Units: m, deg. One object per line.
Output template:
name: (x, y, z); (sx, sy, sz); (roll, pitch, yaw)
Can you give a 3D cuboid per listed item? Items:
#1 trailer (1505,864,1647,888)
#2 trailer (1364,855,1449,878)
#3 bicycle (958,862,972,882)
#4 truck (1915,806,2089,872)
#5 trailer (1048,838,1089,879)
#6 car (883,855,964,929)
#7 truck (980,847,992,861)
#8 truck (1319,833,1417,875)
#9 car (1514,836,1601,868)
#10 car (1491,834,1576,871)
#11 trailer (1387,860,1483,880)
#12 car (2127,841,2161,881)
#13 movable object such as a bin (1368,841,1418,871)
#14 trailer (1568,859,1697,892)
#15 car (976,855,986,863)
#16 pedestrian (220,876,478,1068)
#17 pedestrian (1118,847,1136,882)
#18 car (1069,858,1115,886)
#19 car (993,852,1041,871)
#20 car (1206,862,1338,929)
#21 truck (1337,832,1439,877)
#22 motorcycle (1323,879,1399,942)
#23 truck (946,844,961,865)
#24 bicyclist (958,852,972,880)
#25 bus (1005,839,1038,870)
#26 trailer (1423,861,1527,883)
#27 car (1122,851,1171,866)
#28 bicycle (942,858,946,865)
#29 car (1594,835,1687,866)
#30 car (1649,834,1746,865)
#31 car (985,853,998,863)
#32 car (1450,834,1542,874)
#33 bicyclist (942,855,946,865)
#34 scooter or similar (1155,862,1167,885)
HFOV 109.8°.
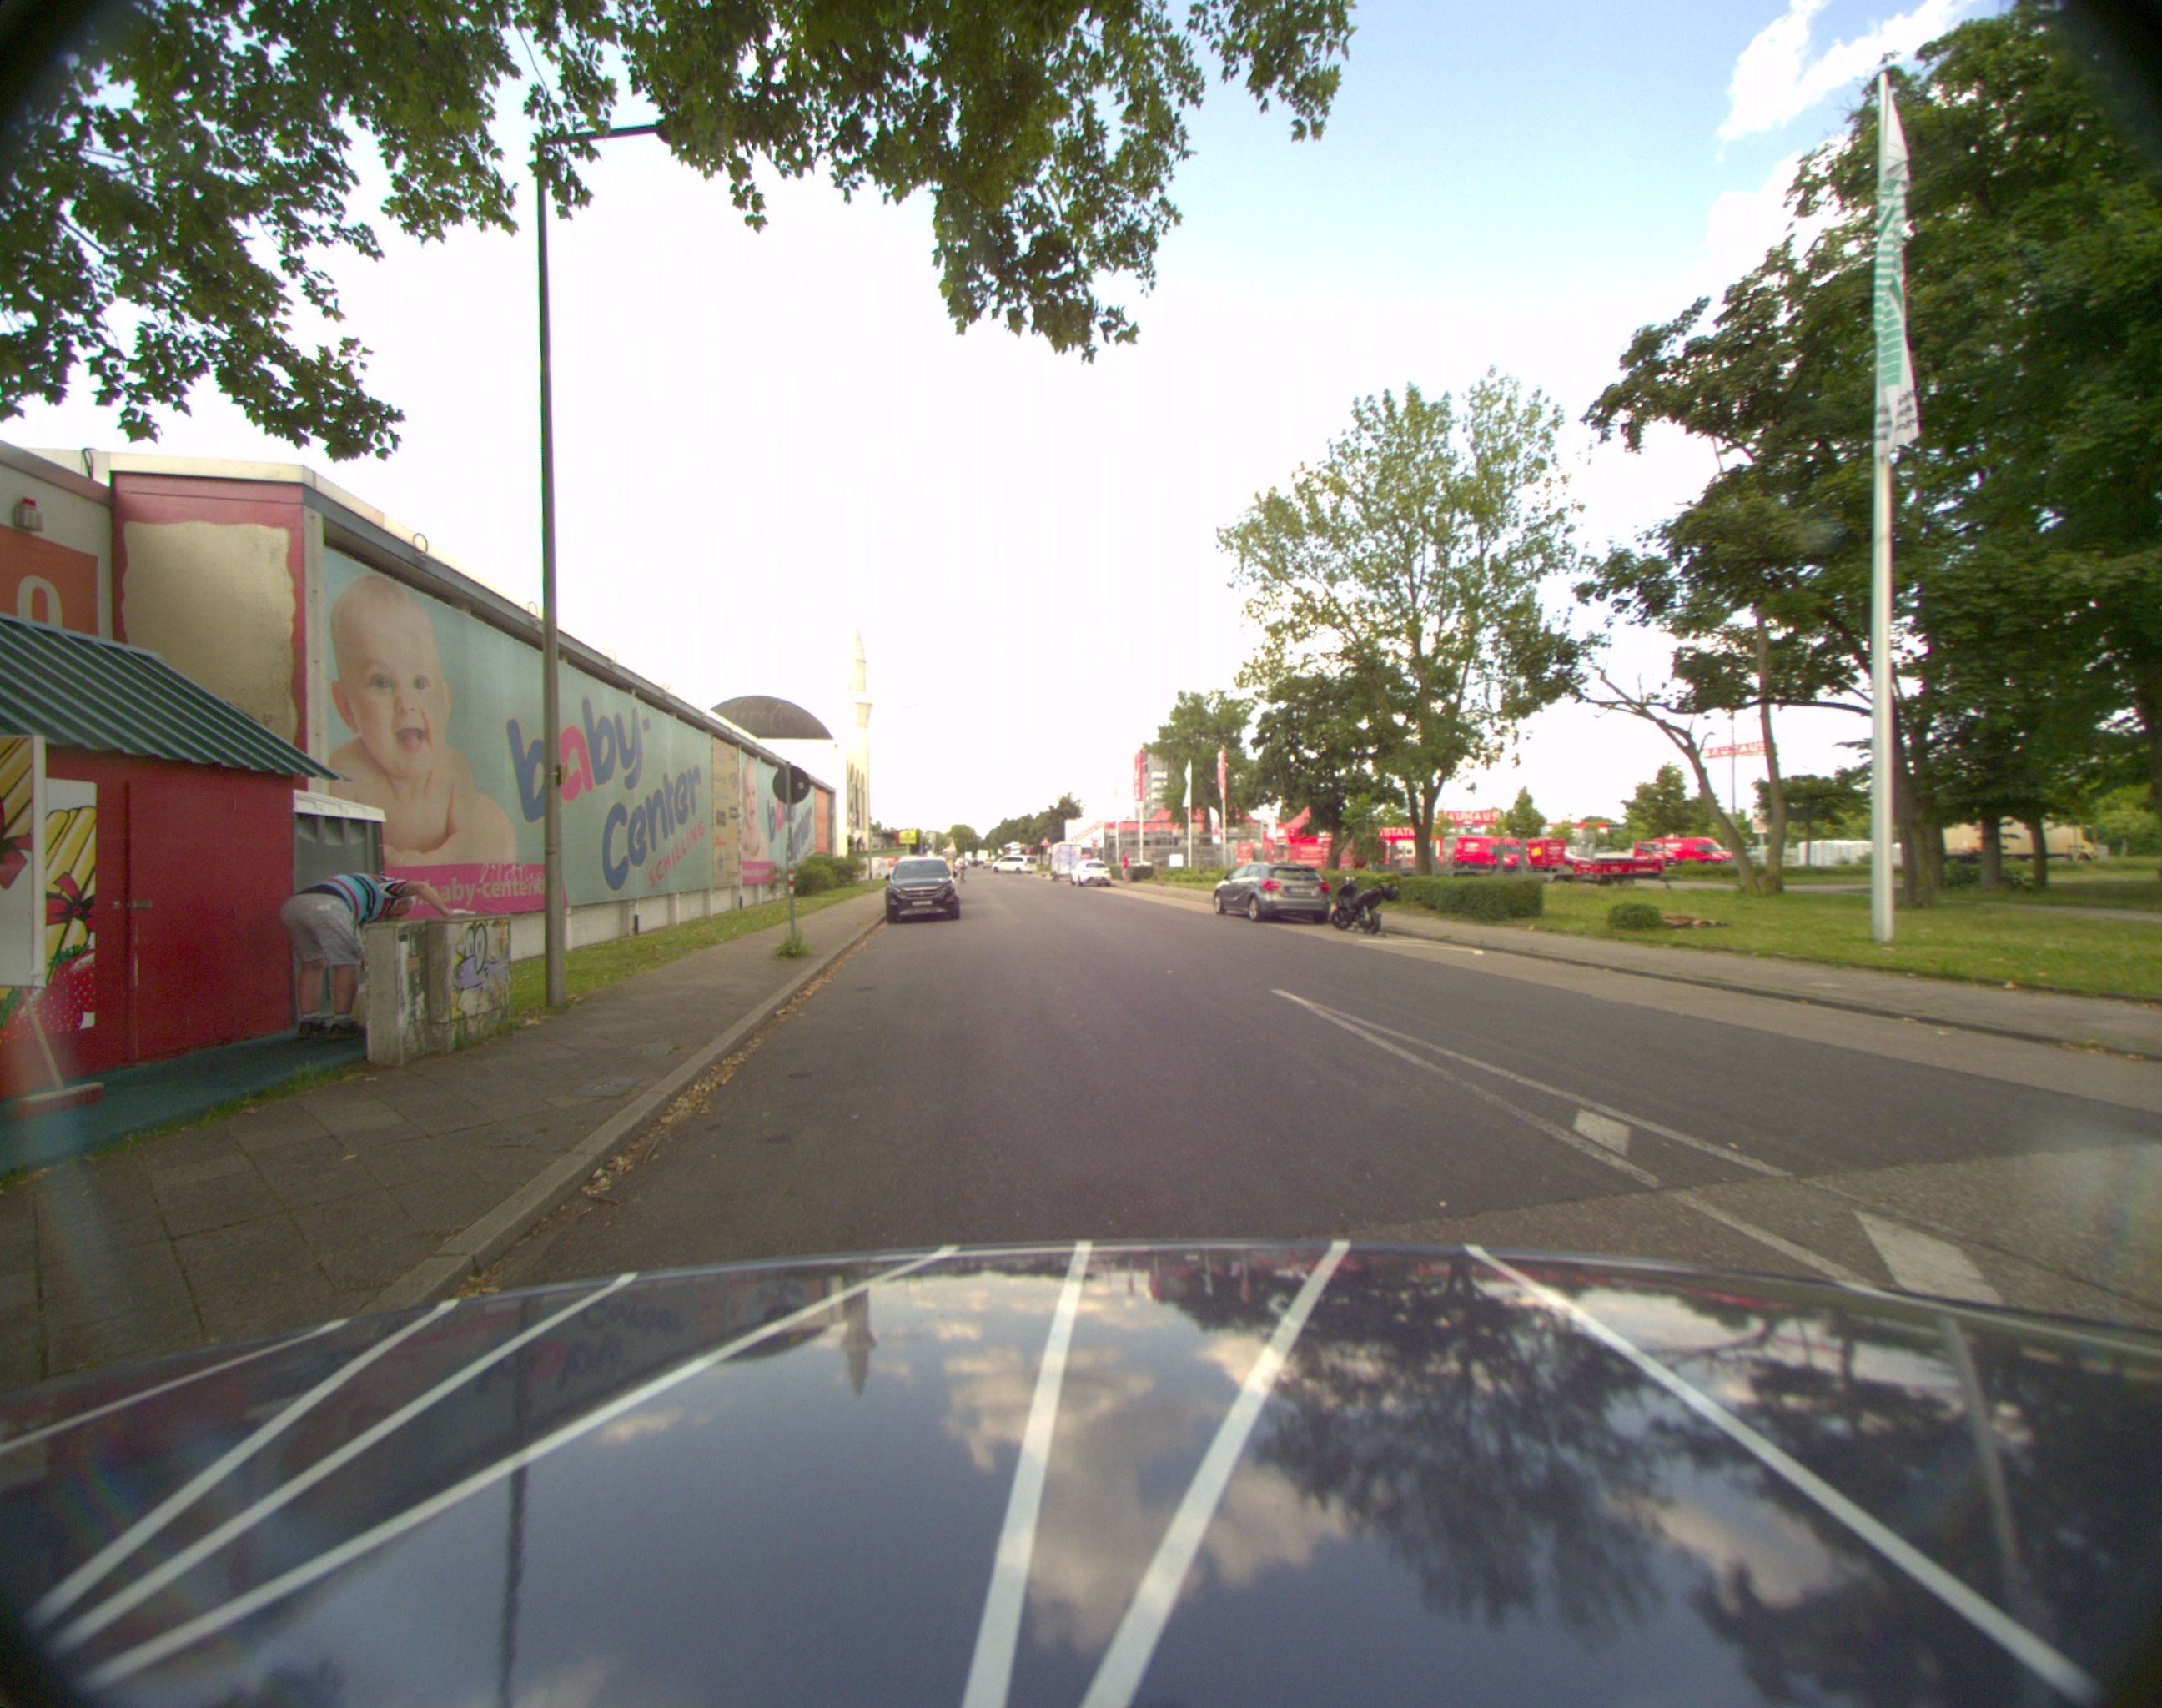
trailer: (20.711, 0.909, 31.922); (4.608, 0.907, 2.187); (-1, 0, -4)
trailer: (18.587, 0.700, 43.400); (4.249, 1.114, 1.670); (-1, 2, -11)
bicycle: (-7.646, 1.176, 50.106); (0.800, 1.173, 2.624); (-2, 1, -10)
truck: (57.319, -0.976, 47.372); (8.350, 3.927, 2.984); (-1, 2, -9)
trailer: (-0.967, 0.303, 53.832); (2.147, 2.767, 4.699); (1, 0, -10)
car: (-4.202, 0.920, 20.612); (1.814, 1.656, 4.635); (-3, 0, -10)
truck: (-25.451, 0.000, 203.360); (2.757, 3.701, 7.164); (1, 0, -10)
truck: (18.470, -0.023, 49.013); (5.773, 2.579, 1.813); (-1, 2, -7)
car: (38.868, -0.239, 62.216); (2.274, 2.402, 6.430); (-1, 2, -10)
car: (33.208, -0.184, 56.033); (2.273, 2.579, 5.717); (-1, 2, -9)
trailer: (19.094, 0.829, 41.040); (4.249, 0.908, 2.156); (-1, 2, -11)
car: (41.203, 0.275, 27.085); (1.573, 1.503, 4.353); (-1, 1, -10)
movable object such as a bin: (23.926, 0.149, 58.309); (2.000, 2.262, 3.542); (-1, 0, -9)
trailer: (21.237, 0.803, 29.339); (3.828, 1.184, 1.714); (-1, 0, -3)
car: (-17.944, 0.946, 136.211); (1.596, 1.456, 3.758); (0, 0, -10)
pedestrian: (-5.566, 0.852, 5.868); (1.016, 1.306, 0.964); (-1, 1, -1)
pedestrian: (2.675, 0.596, 44.327); (0.812, 2.002, 0.884); (-1, 1, -10)
car: (0.575, 0.985, 43.335); (1.771, 1.470, 4.231); (2, 0, -10)
car: (-6.738, 0.746, 79.885); (5.002, 1.938, 1.996); (-1, 0, 37)
car: (4.655, 0.969, 19.226); (1.715, 1.411, 4.328); (2, 0, -8)
truck: (18.480, 0.004, 45.786); (5.566, 2.579, 1.777); (-1, 2, -9)
motorcycle: (5.669, 1.126, 15.510); (0.623, 1.131, 1.801); (2, 0, -9)
truck: (-27.354, 0.114, 163.526); (2.787, 4.092, 8.272); (-3, 1, -9)
bicyclist: (-7.654, 0.794, 50.096); (0.809, 1.782, 1.206); (-3, 1, -10)
bus: (-7.422, 0.027, 92.953); (2.672, 3.402, 13.206); (3, 0, -9)
trailer: (19.488, 0.857, 37.678); (4.249, 0.908, 2.020); (-1, 2, -11)
car: (6.737, 0.448, 78.683); (4.699, 1.445, 1.953); (-1, 0, -8)
bicycle: (-27.530, 1.517, 152.667); (0.795, 1.287, 1.881); (3, 0, -8)
car: (46.317, -0.359, 63.193); (2.274, 2.402, 6.430); (-1, 2, -10)
car: (52.314, -0.461, 64.711); (2.274, 2.402, 6.430); (-1, 2, -10)
car: (-13.134, 0.630, 111.577); (1.596, 1.456, 3.758); (0, 0, -10)
car: (29.007, -0.108, 53.450); (2.273, 2.579, 6.431); (-1, 2, -9)
bicyclist: (-27.525, 1.218, 152.680); (0.797, 1.899, 0.828); (3, 0, -7)
scooter or similar: (4.197, 1.010, 40.099); (0.518, 1.186, 1.280); (-1, 1, 2)
